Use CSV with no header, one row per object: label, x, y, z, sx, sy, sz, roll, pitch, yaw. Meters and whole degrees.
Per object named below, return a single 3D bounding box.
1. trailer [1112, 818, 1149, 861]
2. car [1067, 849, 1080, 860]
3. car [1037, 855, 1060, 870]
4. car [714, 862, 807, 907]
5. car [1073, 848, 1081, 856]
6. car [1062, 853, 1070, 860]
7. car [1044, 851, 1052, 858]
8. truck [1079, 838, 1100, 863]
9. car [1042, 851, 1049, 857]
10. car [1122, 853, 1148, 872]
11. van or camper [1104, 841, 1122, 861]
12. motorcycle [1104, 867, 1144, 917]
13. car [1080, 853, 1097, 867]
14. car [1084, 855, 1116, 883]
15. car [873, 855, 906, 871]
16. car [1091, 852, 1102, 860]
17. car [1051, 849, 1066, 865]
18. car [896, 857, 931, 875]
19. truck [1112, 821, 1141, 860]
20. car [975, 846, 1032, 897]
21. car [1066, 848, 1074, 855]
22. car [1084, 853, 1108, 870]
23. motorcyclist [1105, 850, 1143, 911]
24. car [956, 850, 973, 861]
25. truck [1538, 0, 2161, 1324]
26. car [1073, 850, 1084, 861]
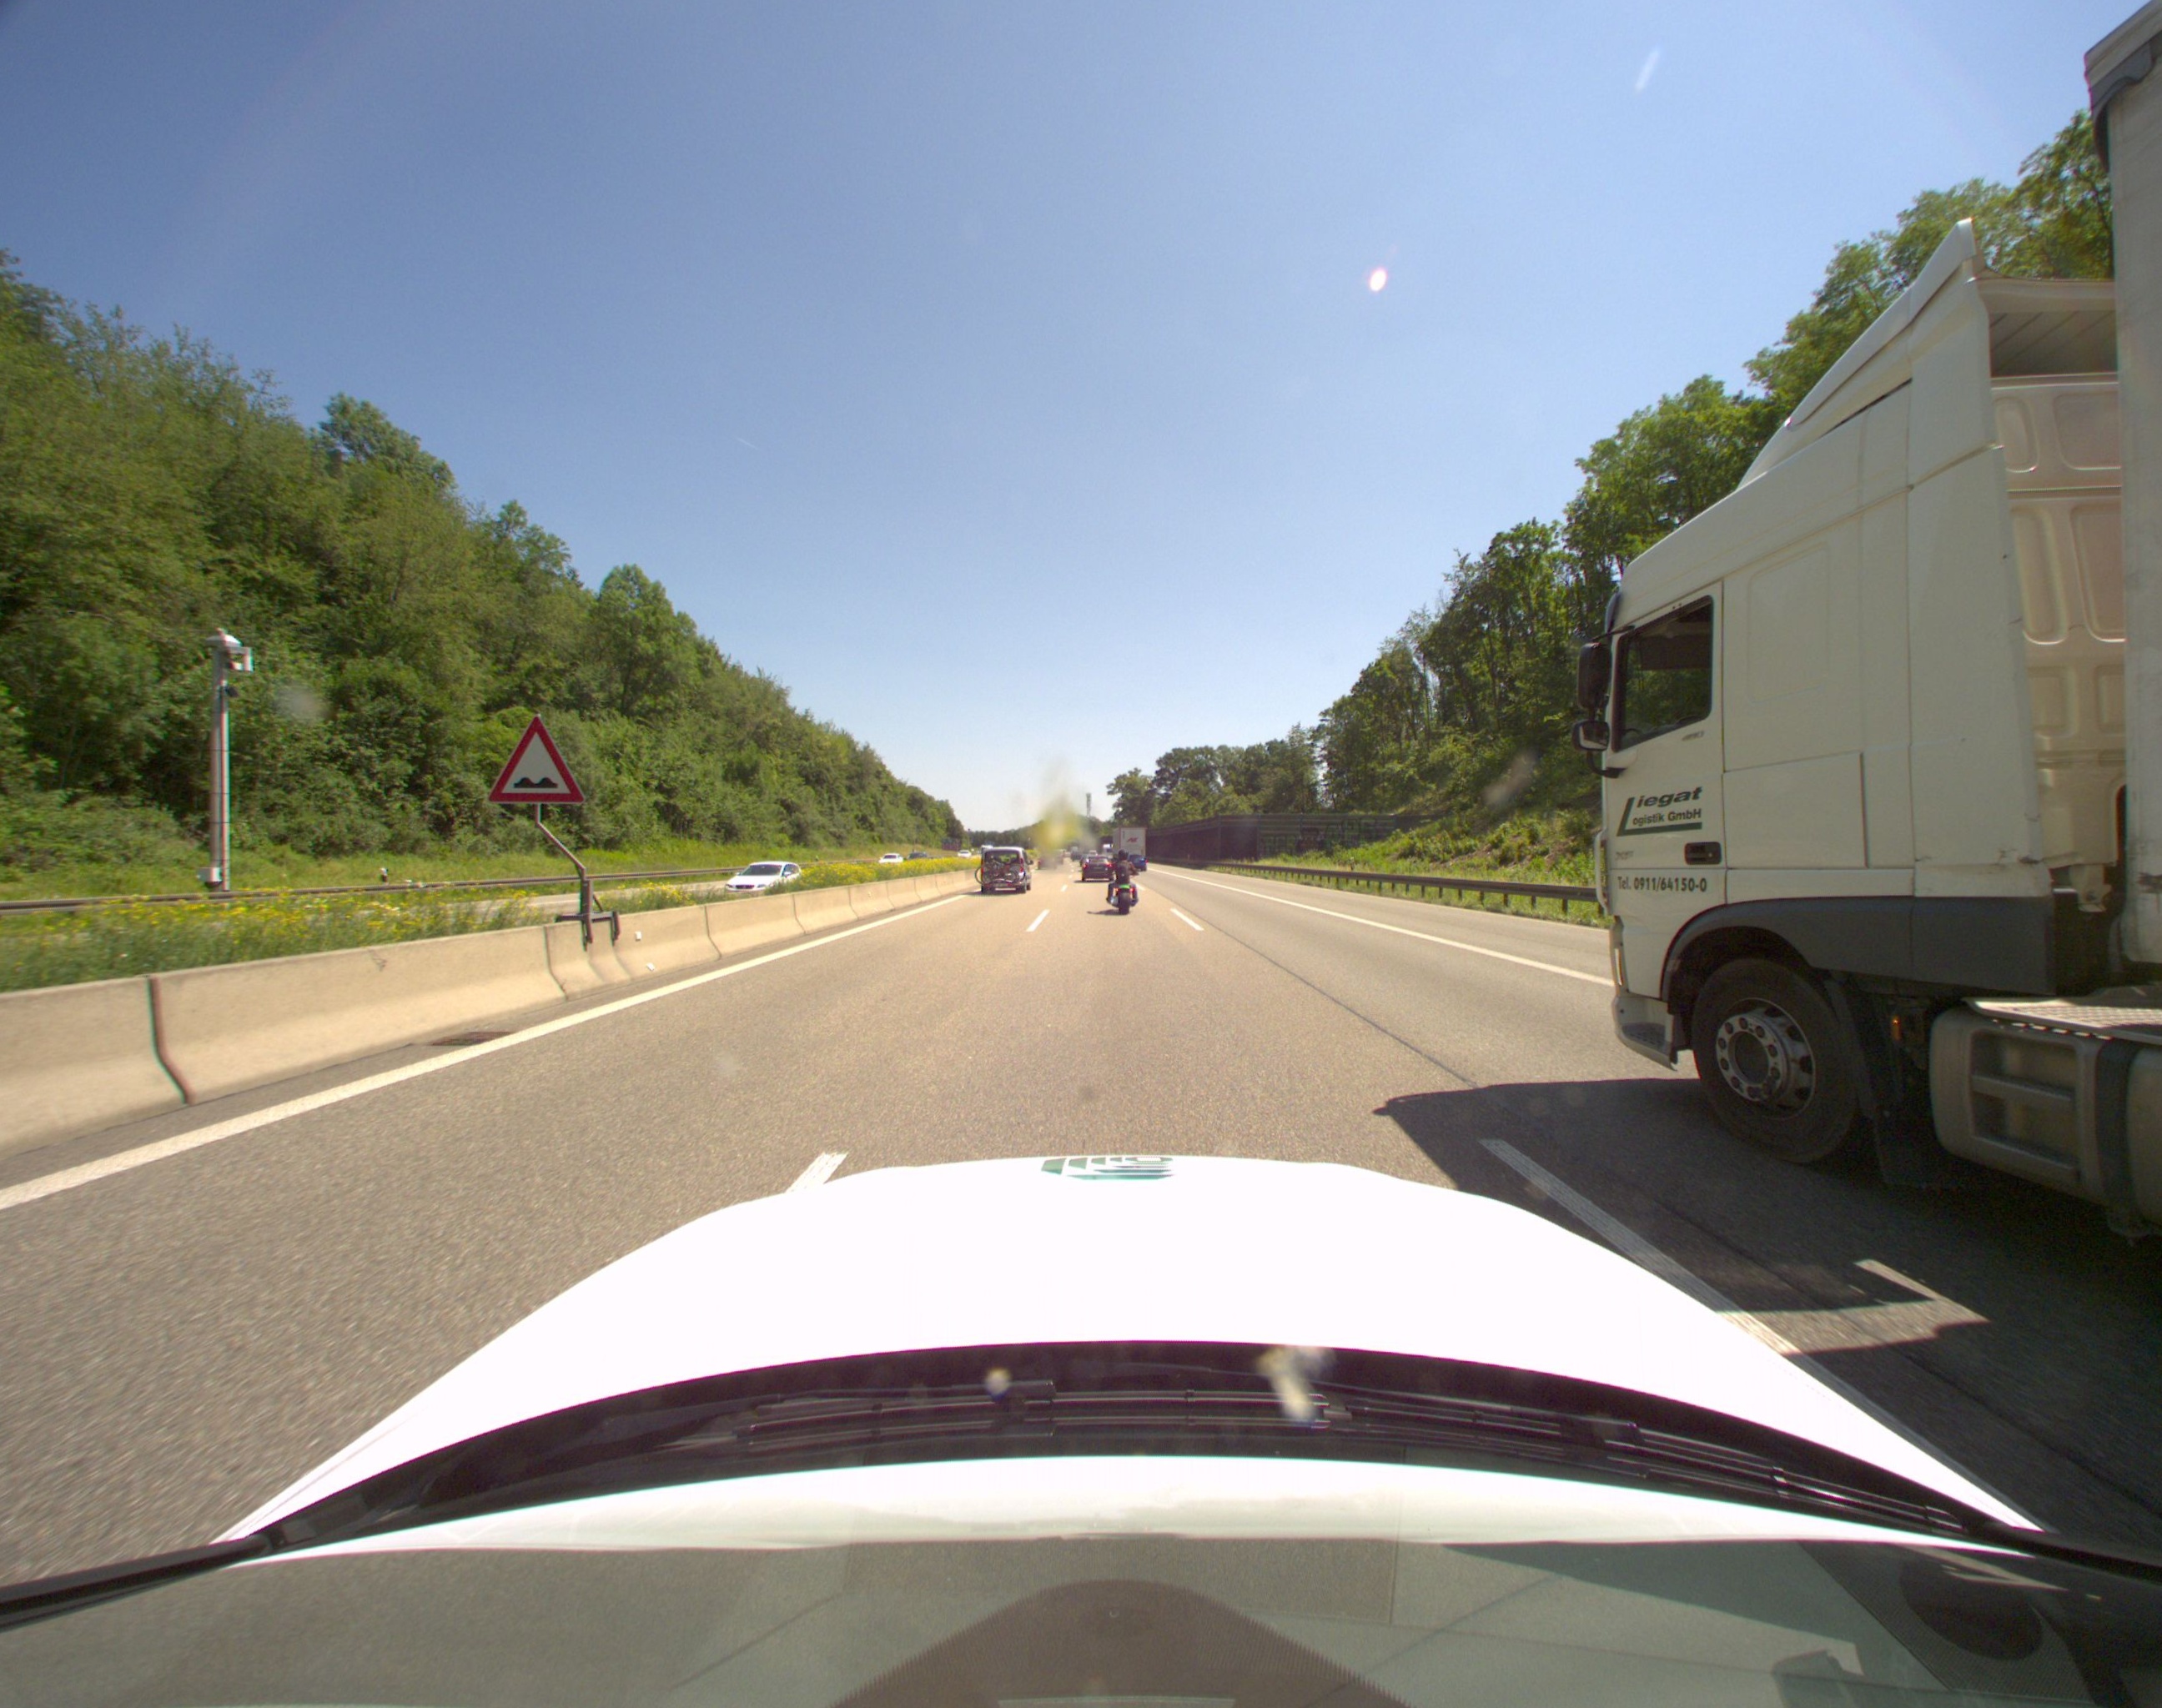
trailer,4.959,-1.430,84.019,2.876,4.038,13.793,-1,0,0
car,-1.225,0.138,130.187,1.987,1.640,3.999,-1,-1,0
car,-3.114,0.865,79.017,1.987,1.387,3.999,-1,-1,0
car,-11.111,1.005,28.546,1.618,1.386,4.137,-1,0,0
car,-1.055,-0.501,215.367,2.103,1.876,3.995,-1,-1,-4
car,-3.207,0.581,174.645,1.827,1.496,3.741,-1,-1,-2
car,-7.972,0.076,194.917,1.827,1.496,3.741,-1,-1,-2
truck,1.767,-0.681,174.203,3.796,4.960,8.936,-1,-1,-4
car,-10.401,0.041,239.978,1.828,1.496,3.738,-1,-1,-4
car,4.512,0.724,68.907,1.647,1.483,4.476,-1,-1,-3
van or camper,4.741,-0.421,121.379,2.675,2.813,6.805,-1,-1,2
motorcycle,1.125,0.942,21.026,0.960,1.148,2.814,0,0,3
car,0.876,0.647,91.662,1.773,1.552,3.585,-1,-1,1
car,1.001,0.831,44.900,1.657,1.453,3.868,-1,-1,0
car,-17.748,0.814,75.734,1.987,1.442,4.171,-1,-1,0
car,3.064,0.463,161.457,1.988,1.574,3.998,-1,-1,-1
car,-2.868,0.437,105.073,1.786,2.014,3.641,-1,-1,0
car,-13.904,1.002,67.912,1.986,1.486,4.001,-1,-1,1
truck,4.978,-1.506,90.853,2.876,4.146,5.985,-1,0,0
car,-3.025,0.670,32.626,1.893,1.873,4.411,-1,-1,-1
car,-2.934,-0.572,220.868,2.103,1.876,3.995,-1,-1,-4
car,1.274,0.636,69.829,1.987,1.430,3.846,-1,-1,0
motorcyclist,1.114,0.659,20.884,0.896,1.475,1.874,-1,-1,4
car,-18.421,0.201,128.707,1.987,1.616,4.482,-1,0,-1
truck,4.552,-0.740,2.812,2.776,4.204,5.871,0,1,1
car,-0.567,0.318,155.078,1.907,2.014,3.687,-1,-1,-3
